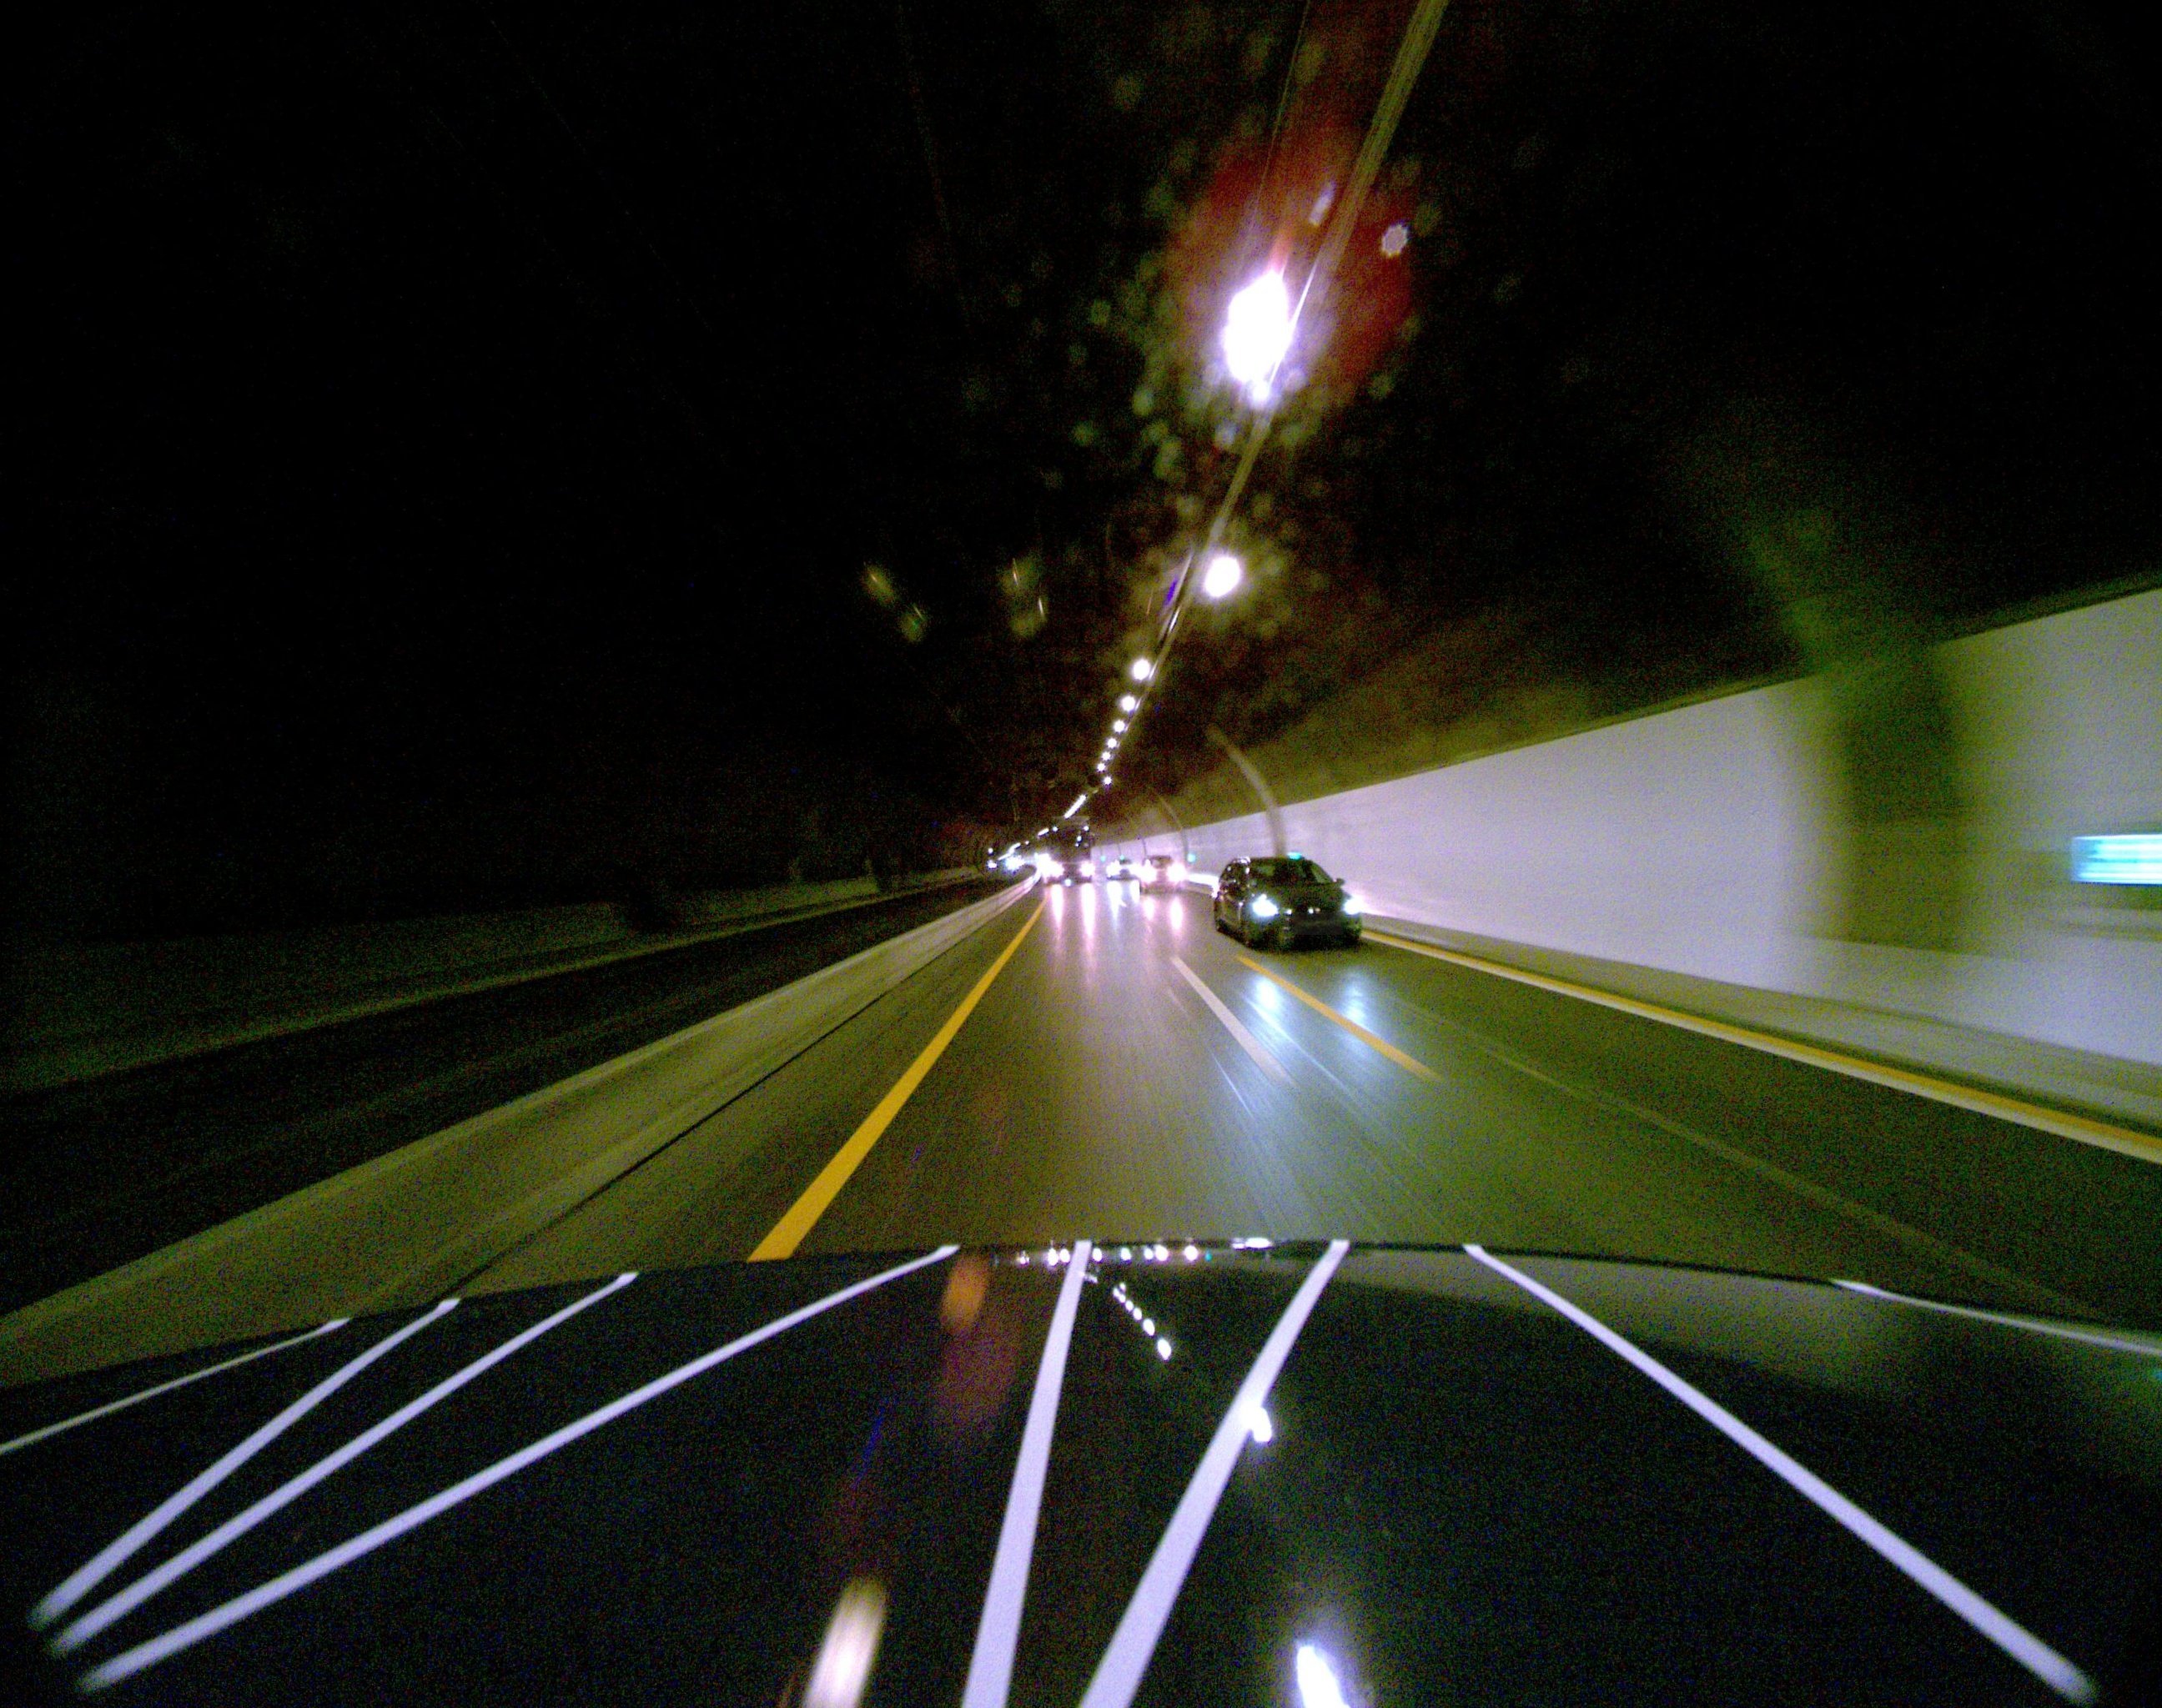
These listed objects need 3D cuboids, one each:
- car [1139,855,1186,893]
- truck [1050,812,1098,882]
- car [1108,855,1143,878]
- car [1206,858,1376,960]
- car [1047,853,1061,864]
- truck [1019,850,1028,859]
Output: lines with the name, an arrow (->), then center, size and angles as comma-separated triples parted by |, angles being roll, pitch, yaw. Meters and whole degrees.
car -> 3.368, 0.805, 31.745 | 1.531, 1.508, 2.651 | -2, 0, -2
truck -> -0.510, -0.442, 49.645 | 2.742, 4.127, 8.099 | -2, 0, -2
car -> 2.921, 0.818, 50.748 | 1.909, 1.412, 4.060 | -2, 0, -2
car -> 3.505, 0.827, 13.693 | 1.782, 1.430, 4.883 | -2, 0, 1
car -> -4.174, 0.659, 116.036 | 1.999, 1.524, 3.999 | -2, 0, -3
truck -> -18.615, 0.150, 246.406 | 2.611, 2.723, 6.394 | -2, 0, -7
